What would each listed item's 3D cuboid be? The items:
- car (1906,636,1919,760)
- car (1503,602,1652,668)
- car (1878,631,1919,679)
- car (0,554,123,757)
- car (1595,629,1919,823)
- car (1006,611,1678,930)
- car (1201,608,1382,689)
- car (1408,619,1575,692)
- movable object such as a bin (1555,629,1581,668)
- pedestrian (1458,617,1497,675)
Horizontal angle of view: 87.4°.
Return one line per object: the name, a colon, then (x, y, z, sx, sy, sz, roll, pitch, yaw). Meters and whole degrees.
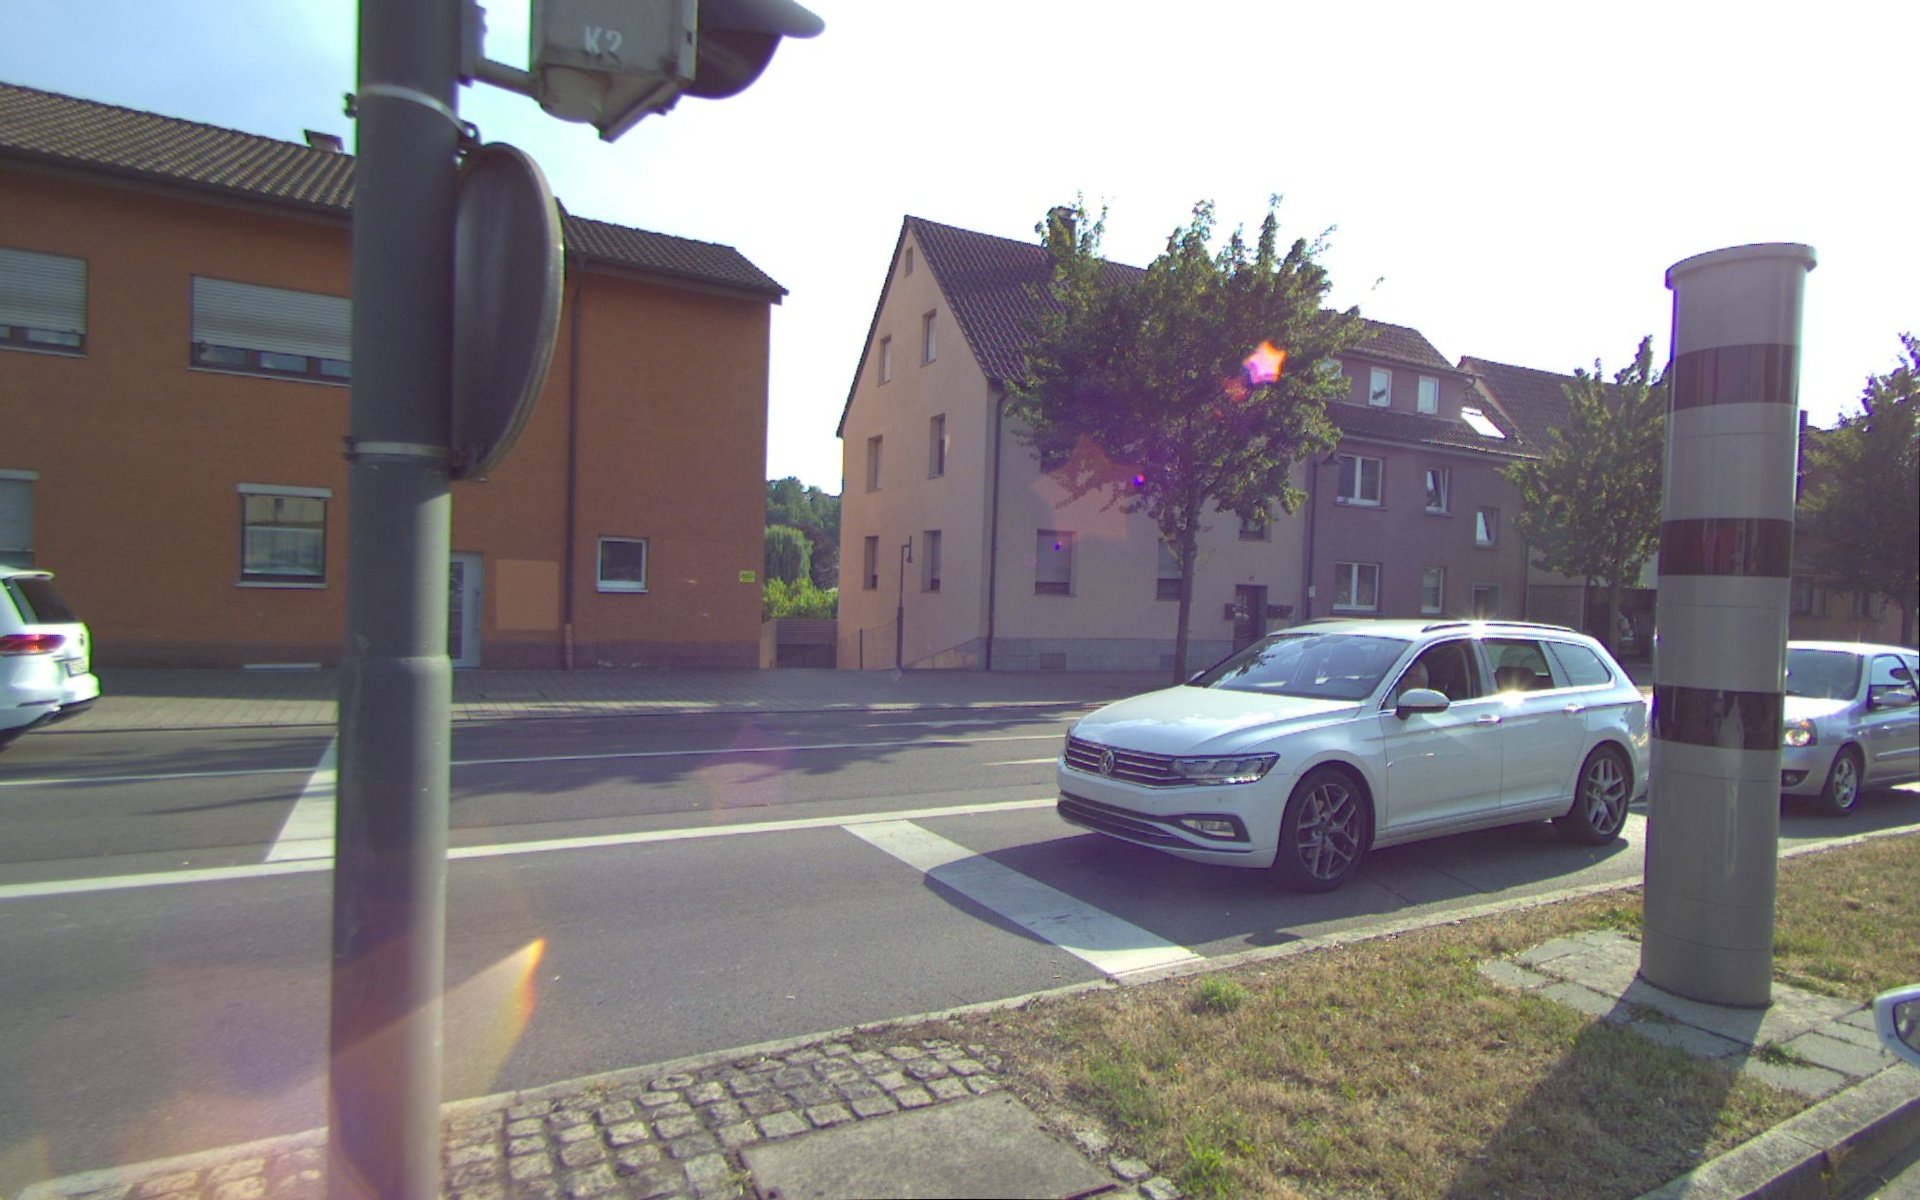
car: (13.361, 1.218, 12.359, 3.463, 1.481, 1.525, 1, 0, -29)
car: (20.494, 1.111, 33.494, 1.757, 1.906, 3.805, 2, 1, -27)
car: (33.845, 1.933, 34.750, 3.946, 1.507, 1.660, 2, 2, -25)
car: (-9.609, 0.392, 7.913, 4.362, 1.633, 1.677, 2, 0, -30)
car: (7.720, 1.053, 9.280, 3.533, 1.446, 1.583, 2, -1, -28)
car: (2.700, 0.881, 6.791, 4.513, 1.508, 1.826, 1, 0, -30)
car: (7.136, 1.012, 21.517, 3.841, 1.531, 1.504, 1, 2, -31)
car: (12.476, 1.256, 23.506, 4.087, 1.530, 1.610, 1, 0, -32)
movable object such as a bin: (18.482, 1.469, 30.540, 0.495, 1.152, 0.473, 1, 0, -30)
pedestrian: (15.140, 1.336, 29.401, 0.762, 1.629, 0.723, 0, 3, 6)
